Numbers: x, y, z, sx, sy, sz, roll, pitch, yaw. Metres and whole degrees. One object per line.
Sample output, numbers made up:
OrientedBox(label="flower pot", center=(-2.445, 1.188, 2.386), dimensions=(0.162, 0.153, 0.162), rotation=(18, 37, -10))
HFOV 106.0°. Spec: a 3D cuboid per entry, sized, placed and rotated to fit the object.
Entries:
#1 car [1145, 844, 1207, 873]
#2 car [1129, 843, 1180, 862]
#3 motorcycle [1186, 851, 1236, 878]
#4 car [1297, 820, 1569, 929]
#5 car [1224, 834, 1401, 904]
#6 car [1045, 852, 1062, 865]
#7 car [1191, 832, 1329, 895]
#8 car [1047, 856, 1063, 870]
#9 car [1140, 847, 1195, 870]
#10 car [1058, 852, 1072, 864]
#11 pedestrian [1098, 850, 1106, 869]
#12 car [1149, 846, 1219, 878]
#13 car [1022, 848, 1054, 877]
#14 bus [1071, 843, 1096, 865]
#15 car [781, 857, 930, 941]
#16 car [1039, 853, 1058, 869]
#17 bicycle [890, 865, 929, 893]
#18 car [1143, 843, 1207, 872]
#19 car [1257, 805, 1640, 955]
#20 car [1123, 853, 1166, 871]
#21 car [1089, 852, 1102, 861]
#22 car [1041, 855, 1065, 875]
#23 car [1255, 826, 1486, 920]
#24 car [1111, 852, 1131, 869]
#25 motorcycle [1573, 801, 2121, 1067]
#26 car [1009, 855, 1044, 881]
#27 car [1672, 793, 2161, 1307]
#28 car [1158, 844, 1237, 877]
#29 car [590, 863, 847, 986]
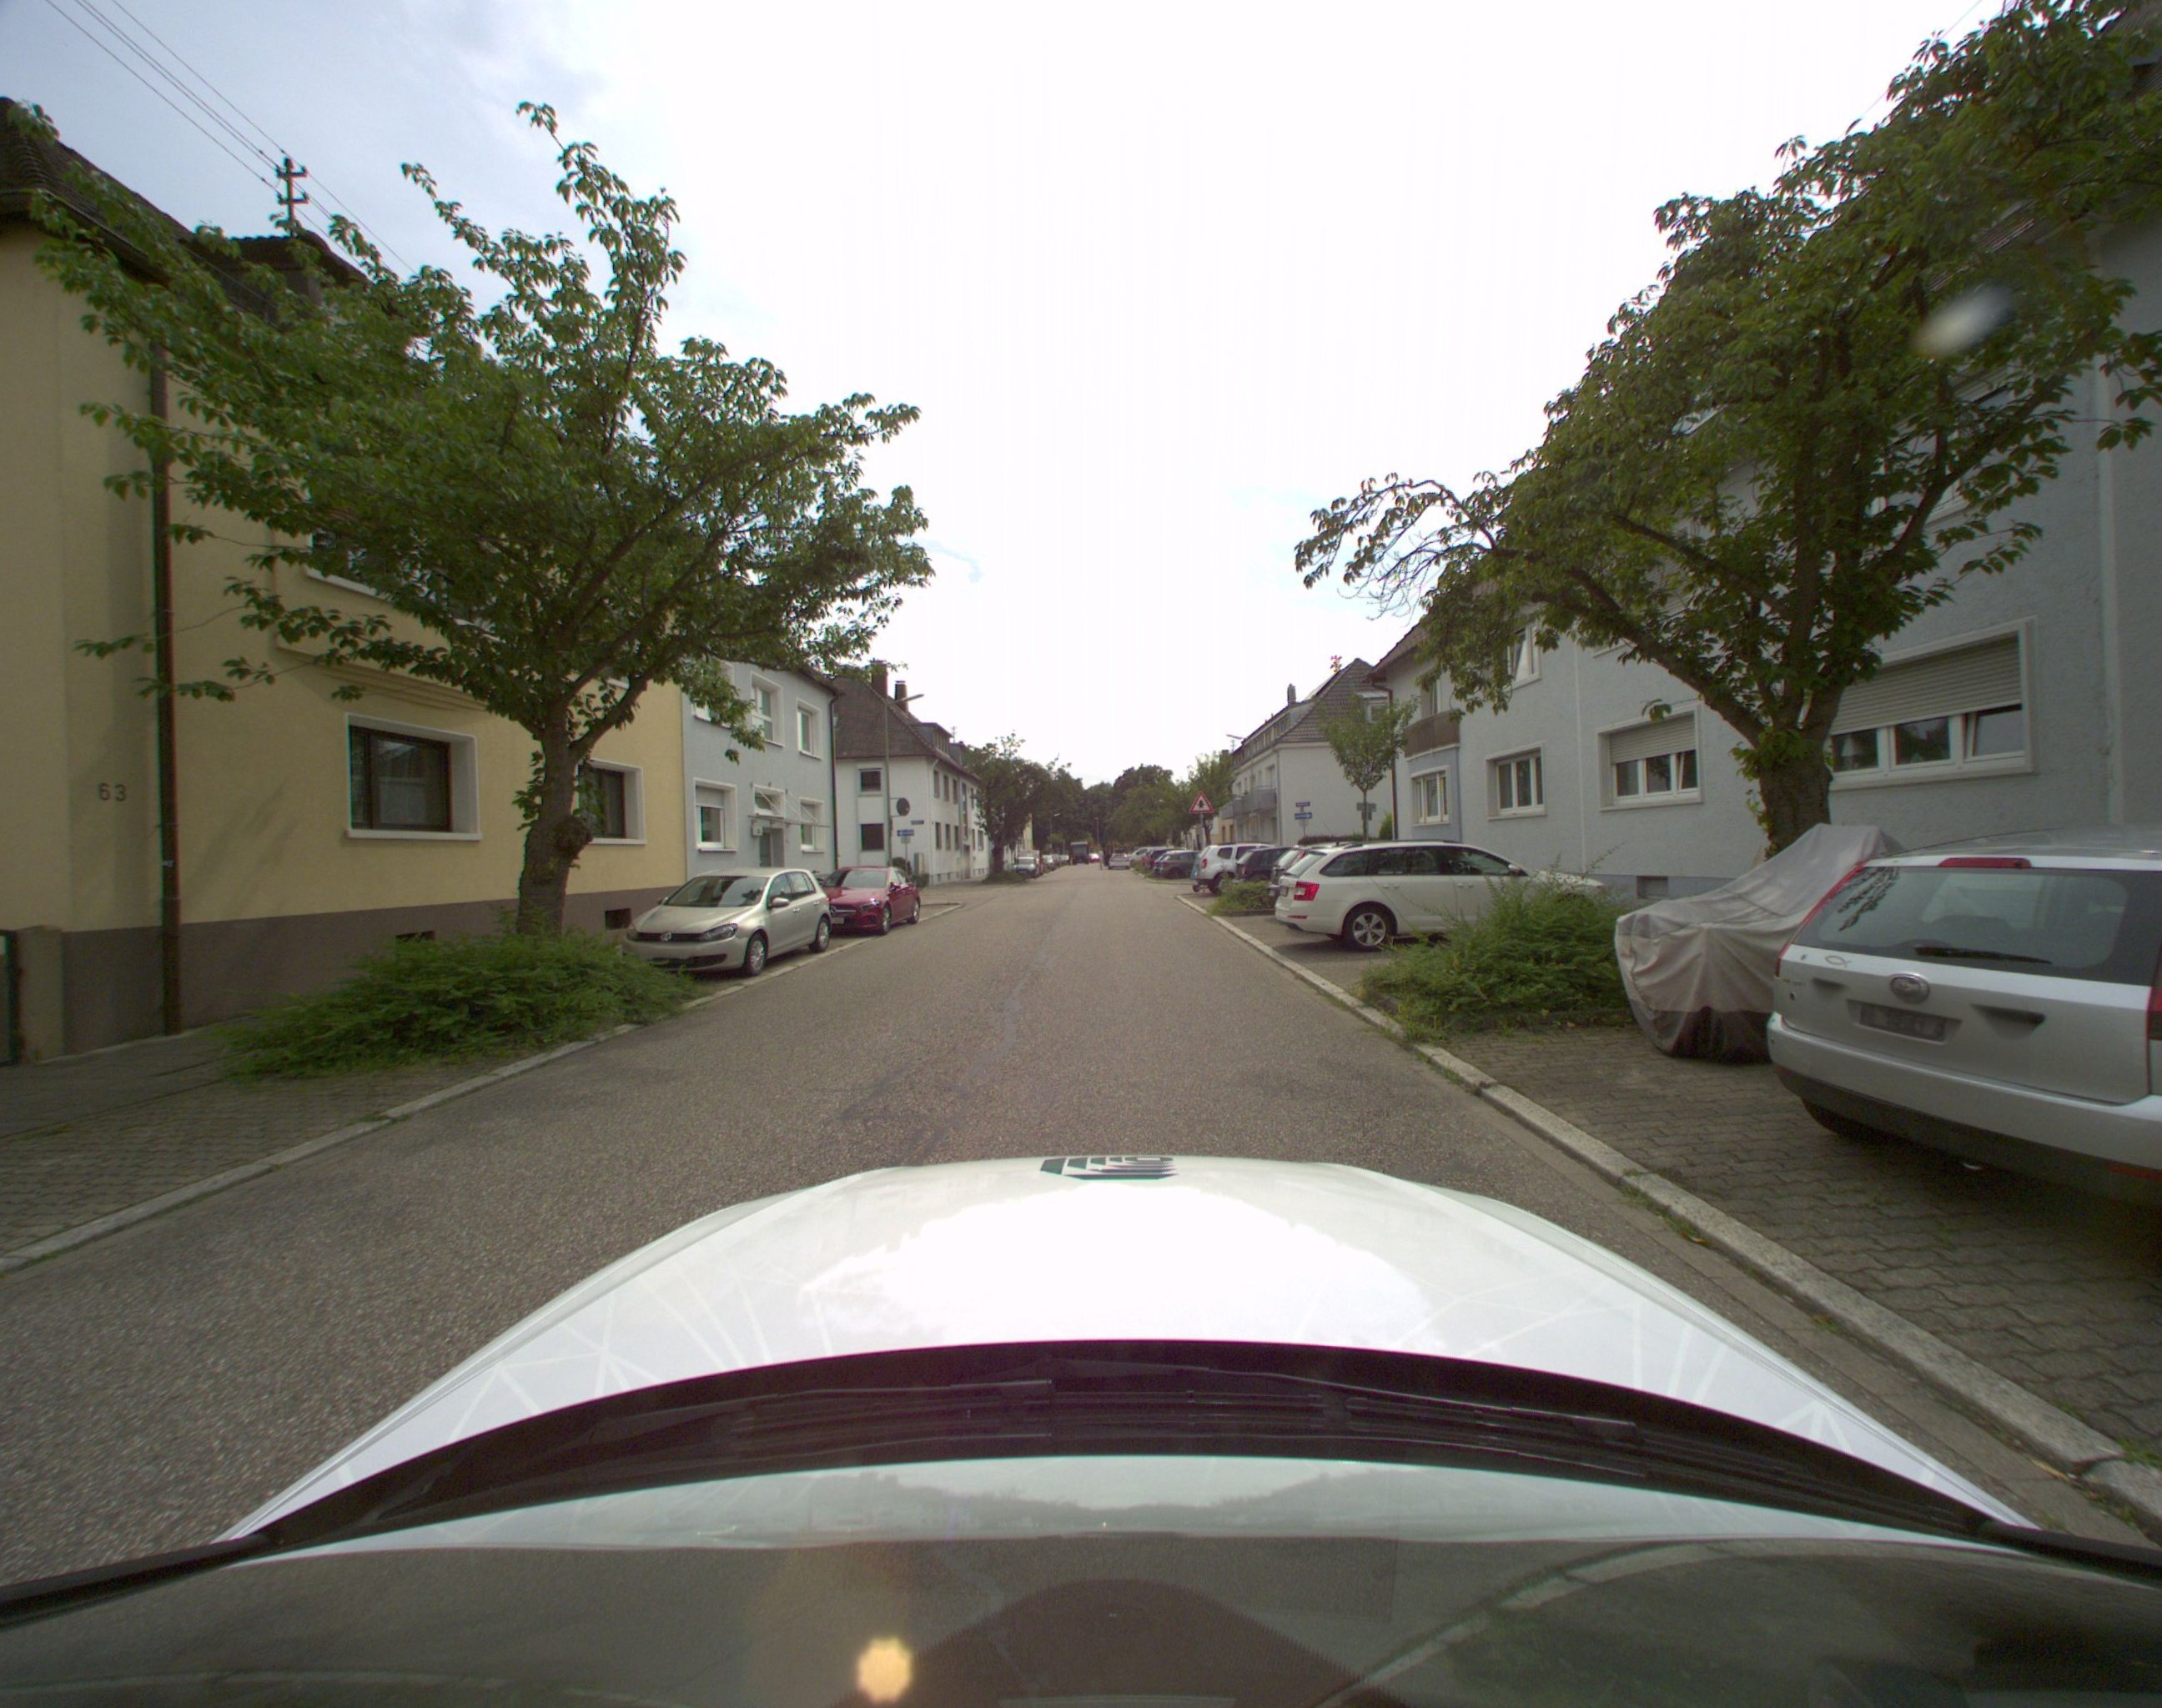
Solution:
OrientedBox(label="car", center=(5.981, 0.275, 51.733), dimensions=(3.733, 1.564, 1.774), rotation=(-4, 0, 2))
OrientedBox(label="car", center=(7.340, -0.105, 81.711), dimensions=(4.959, 1.518, 1.768), rotation=(-4, 0, -1))
OrientedBox(label="motorcycle", center=(6.201, 0.485, 38.853), dimensions=(2.186, 1.210, 0.939), rotation=(-2, 0, -1))
OrientedBox(label="car", center=(6.033, 0.338, 14.320), dimensions=(3.972, 1.508, 1.713), rotation=(-4, 0, 1))
OrientedBox(label="car", center=(5.802, 0.364, 20.775), dimensions=(3.972, 1.421, 1.713), rotation=(-4, 0, 1))
OrientedBox(label="car", center=(-3.165, 0.544, 93.585), dimensions=(1.645, 1.377, 3.722), rotation=(-4, 0, 1))
OrientedBox(label="car", center=(5.560, 0.285, 25.712), dimensions=(3.908, 1.633, 1.869), rotation=(-4, 0, 2))
OrientedBox(label="car", center=(-2.667, 0.960, 84.549), dimensions=(1.534, 1.301, 3.720), rotation=(-4, 0, -1))
OrientedBox(label="car", center=(6.622, 0.322, 62.668), dimensions=(3.973, 1.438, 1.723), rotation=(-4, 0, 1))
OrientedBox(label="car", center=(-2.208, 0.483, 112.844), dimensions=(1.614, 1.502, 4.003), rotation=(-4, 0, 3))
OrientedBox(label="pedestrian", center=(1.876, 0.501, 72.770), dimensions=(0.519, 1.704, 0.445), rotation=(-4, 0, 5))
OrientedBox(label="car", center=(5.532, 0.435, 44.024), dimensions=(3.504, 1.412, 1.559), rotation=(-4, 0, 1))
OrientedBox(label="car", center=(-3.256, 0.639, 62.131), dimensions=(1.986, 2.013, 4.521), rotation=(-2, 0, 1))
OrientedBox(label="bus", center=(0.399, -0.036, 113.632), dimensions=(2.992, 2.761, 8.929), rotation=(-4, 0, 2))
OrientedBox(label="car", center=(-4.882, 0.901, 18.372), dimensions=(1.870, 1.486, 4.514), rotation=(-4, 0, 2))
OrientedBox(label="car", center=(-3.133, 0.644, 79.495), dimensions=(1.646, 1.377, 3.720), rotation=(-4, 0, -1))
OrientedBox(label="bicycle", center=(-7.905, 1.152, 37.538), dimensions=(1.630, 1.179, 0.435), rotation=(-4, 0, -3))
OrientedBox(label="car", center=(6.228, 0.252, 54.263), dimensions=(3.971, 1.618, 1.868), rotation=(-4, 0, 2))
OrientedBox(label="car", center=(5.062, 0.351, 11.755), dimensions=(4.596, 1.664, 1.894), rotation=(-4, 0, 2))
OrientedBox(label="car", center=(6.190, 0.782, 79.476), dimensions=(3.973, 1.518, 1.723), rotation=(-4, 0, 1))
OrientedBox(label="car", center=(2.241, 0.383, 122.365), dimensions=(1.747, 1.342, 4.003), rotation=(-3, 0, 2))
OrientedBox(label="car", center=(-2.278, 0.910, 67.492), dimensions=(1.645, 1.461, 3.553), rotation=(-4, 0, 1))
OrientedBox(label="car", center=(5.703, 0.364, 16.399), dimensions=(3.972, 1.508, 1.713), rotation=(-4, 0, 1))
OrientedBox(label="car", center=(3.639, 0.556, 73.430), dimensions=(1.680, 1.354, 3.829), rotation=(-4, 0, 3))
OrientedBox(label="motorcycle", center=(4.925, 0.467, 5.397), dimensions=(2.694, 1.464, 1.030), rotation=(-2, 0, -3))
OrientedBox(label="car", center=(-3.755, 0.929, 56.370), dimensions=(1.755, 1.554, 3.736), rotation=(-4, 0, 5))
OrientedBox(label="car", center=(4.876, 0.467, 3.329), dimensions=(3.616, 1.454, 1.771), rotation=(-4, 0, -3))
OrientedBox(label="car", center=(5.857, 0.345, 41.330), dimensions=(3.733, 1.365, 1.774), rotation=(-4, 0, 2))
OrientedBox(label="car", center=(-5.196, 0.914, 12.417), dimensions=(1.764, 1.392, 4.278), rotation=(3, 0, 2))
